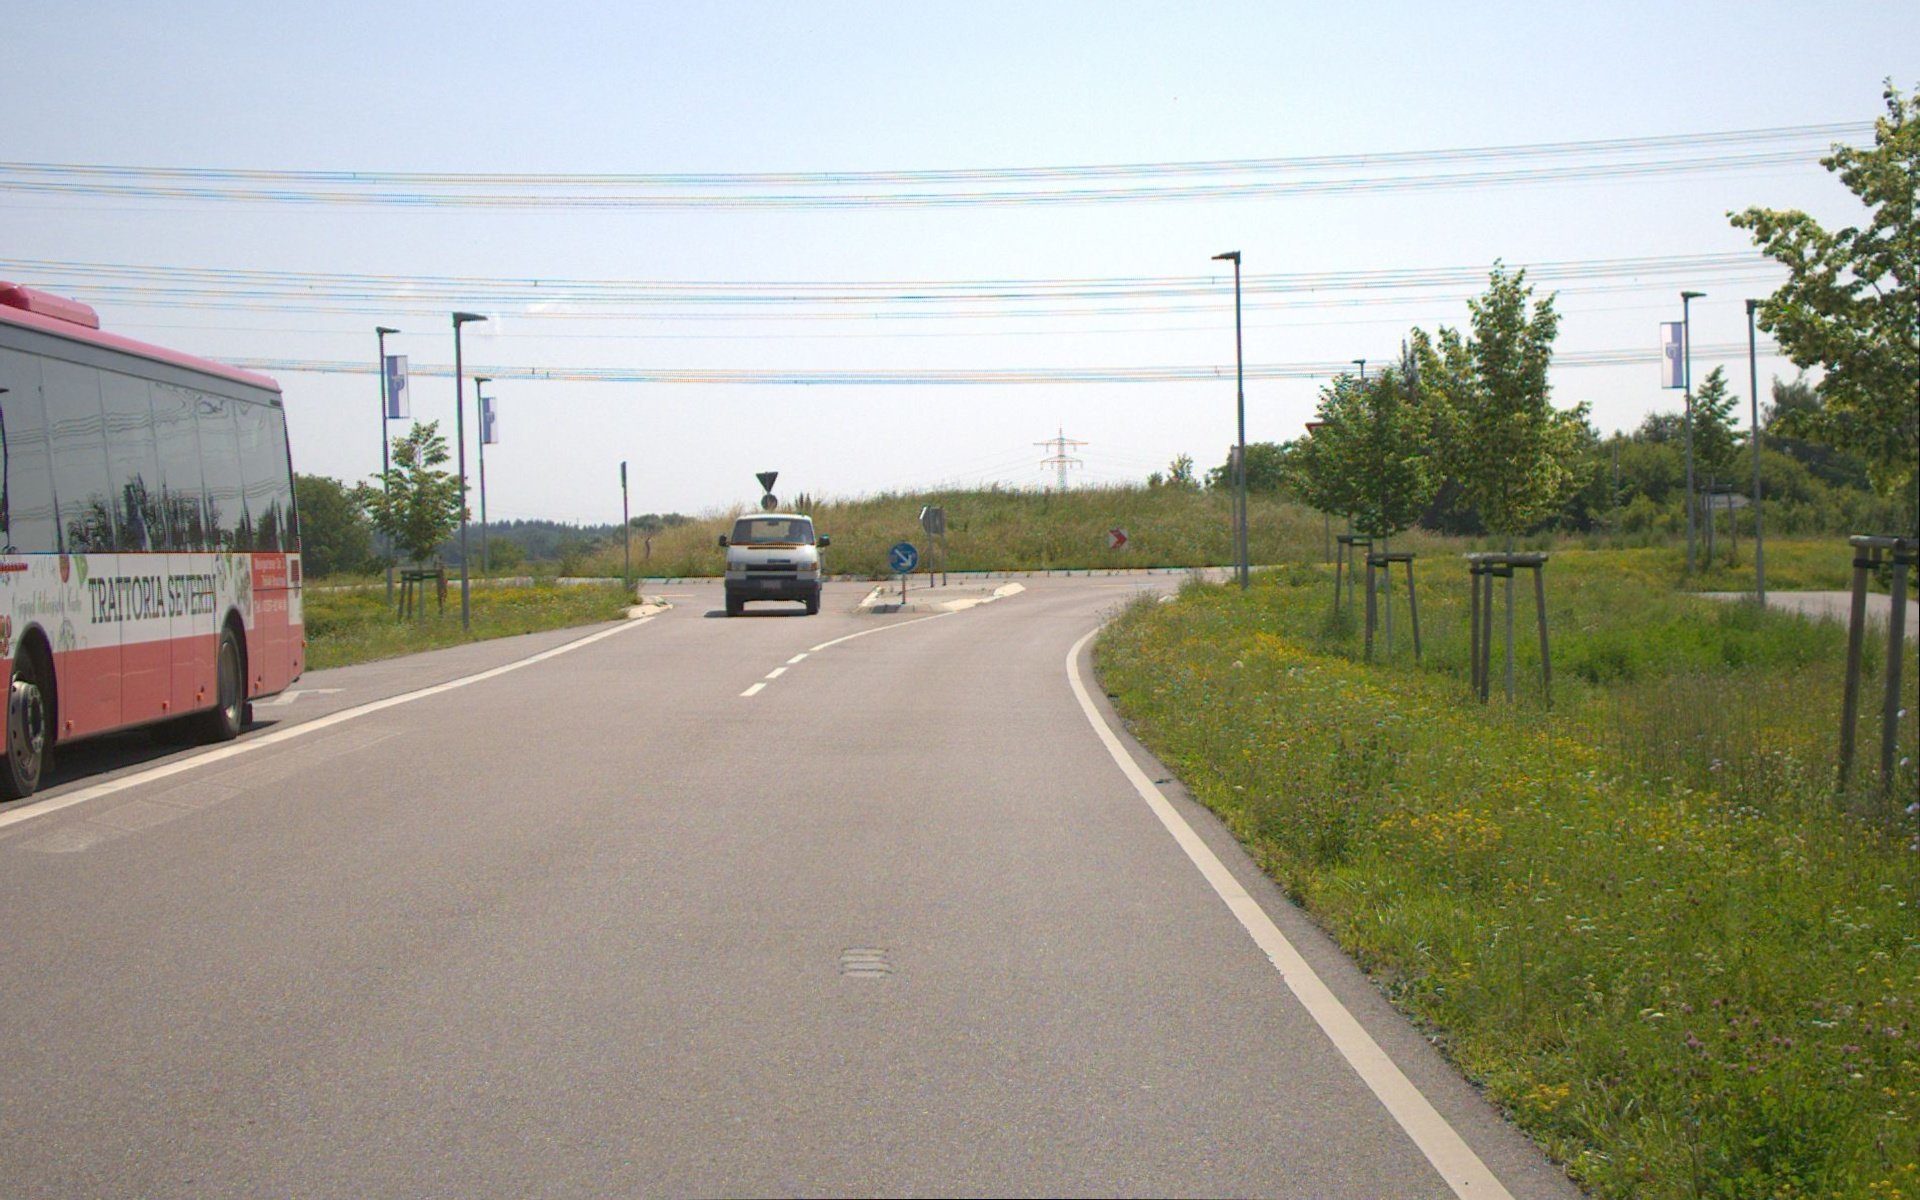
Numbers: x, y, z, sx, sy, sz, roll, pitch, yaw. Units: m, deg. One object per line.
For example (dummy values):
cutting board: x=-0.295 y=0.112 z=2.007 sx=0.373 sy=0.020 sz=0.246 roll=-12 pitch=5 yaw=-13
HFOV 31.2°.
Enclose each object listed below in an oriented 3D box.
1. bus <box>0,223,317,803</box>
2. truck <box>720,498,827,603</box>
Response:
bus: x=-6.914 y=-0.527 z=23.742 sx=2.794 sy=3.275 sz=12.230 roll=-3 pitch=1 yaw=-1
truck: x=-3.737 y=-0.973 z=68.185 sx=1.951 sy=1.978 sz=5.645 roll=0 pitch=1 yaw=-5
